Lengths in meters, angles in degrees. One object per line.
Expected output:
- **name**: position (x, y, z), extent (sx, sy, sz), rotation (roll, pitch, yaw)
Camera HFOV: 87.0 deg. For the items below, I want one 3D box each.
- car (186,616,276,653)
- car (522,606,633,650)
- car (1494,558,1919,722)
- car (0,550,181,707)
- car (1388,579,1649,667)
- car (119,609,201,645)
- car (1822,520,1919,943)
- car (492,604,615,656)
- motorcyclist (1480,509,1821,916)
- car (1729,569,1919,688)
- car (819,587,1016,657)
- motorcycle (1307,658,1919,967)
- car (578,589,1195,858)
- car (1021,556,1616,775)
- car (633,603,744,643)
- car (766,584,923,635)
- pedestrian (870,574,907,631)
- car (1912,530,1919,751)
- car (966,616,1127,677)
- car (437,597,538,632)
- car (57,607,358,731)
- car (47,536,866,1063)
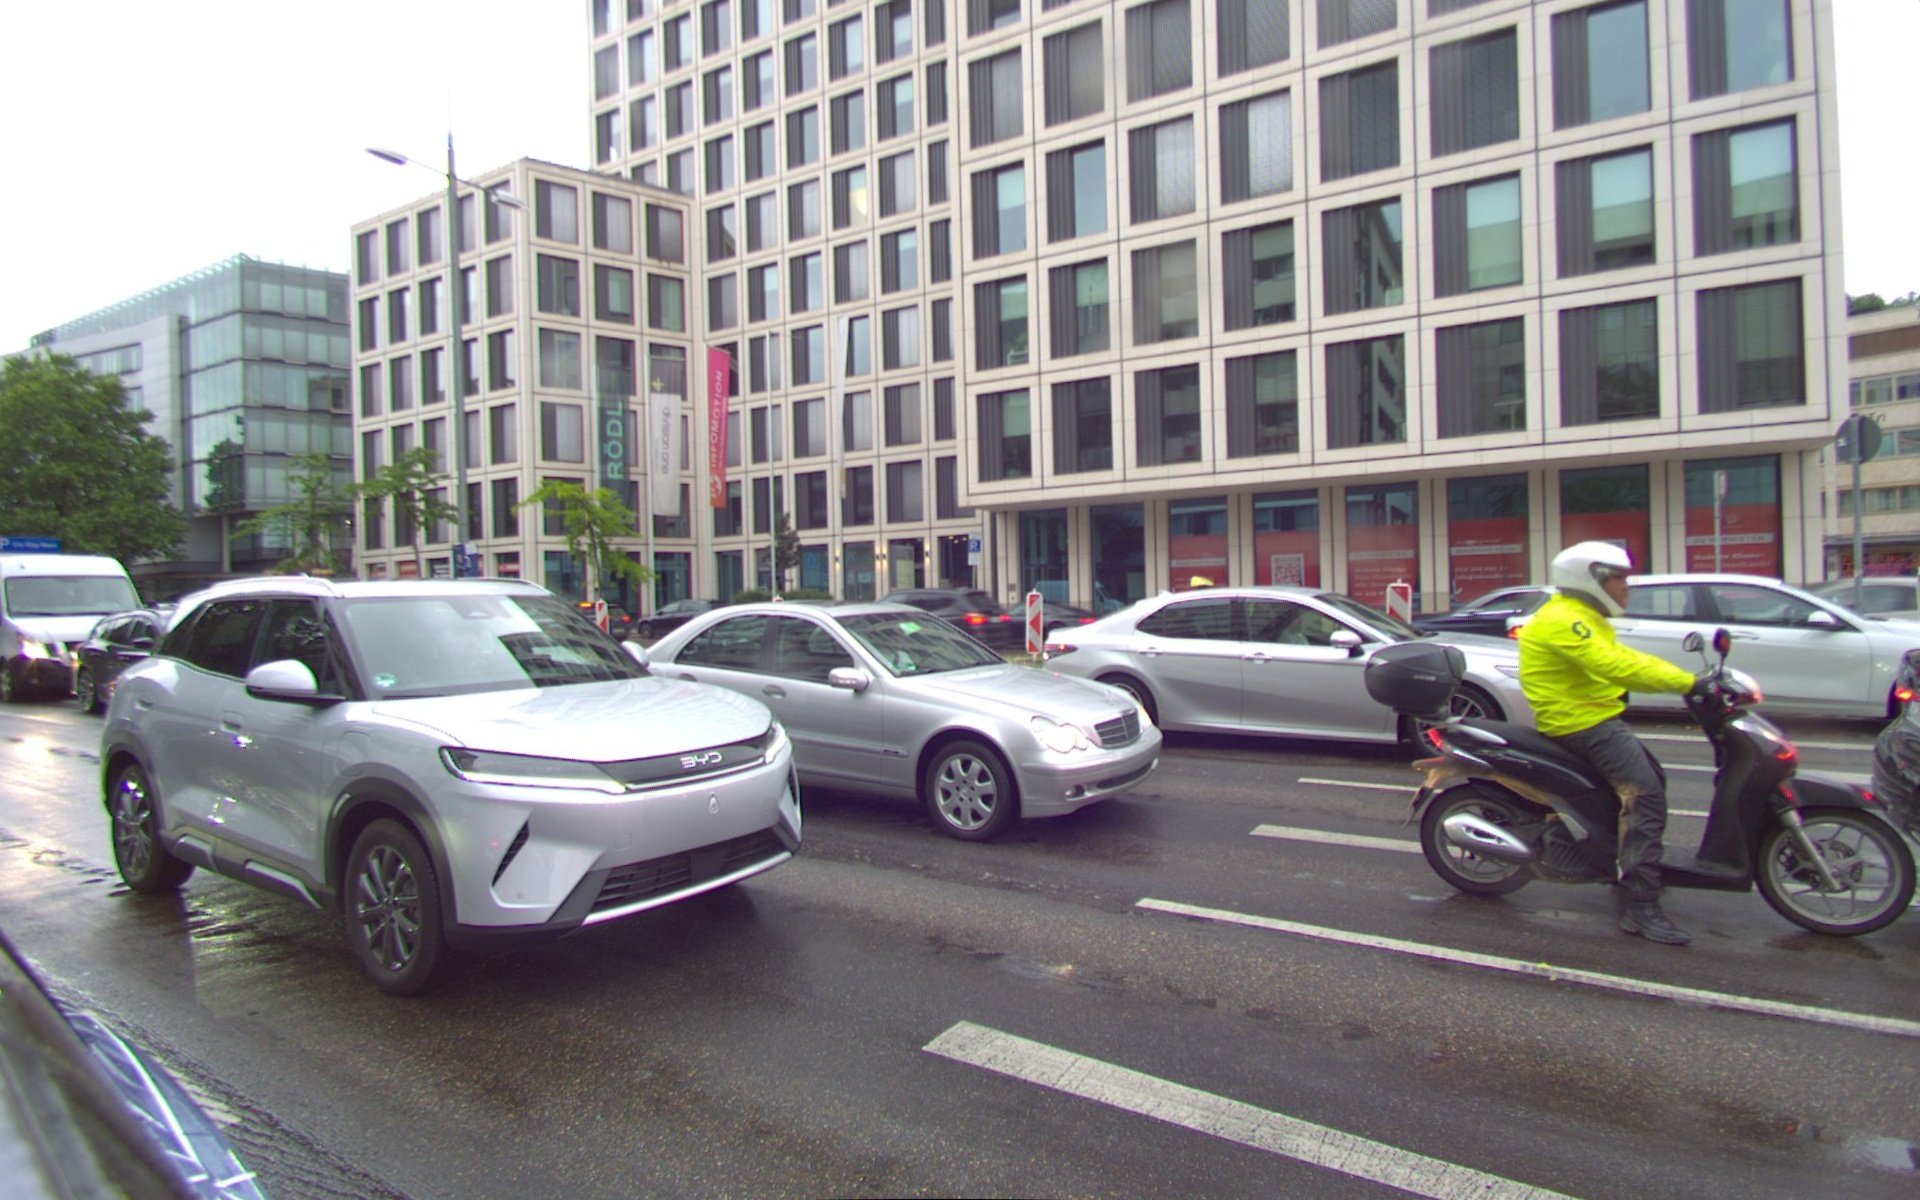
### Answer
- **car**: position (-31.942, 1.498, 44.320), extent (3.857, 1.530, 1.687), rotation (-1, -1, 28)
- **car**: position (-13.743, 0.997, 36.314), extent (3.668, 1.530, 1.688), rotation (-1, -1, 26)
- **car**: position (7.619, 0.319, 9.949), extent (3.985, 1.383, 1.767), rotation (0, 1, 36)
- **car**: position (-16.252, 0.419, 17.997), extent (5.708, 2.403, 2.234), rotation (0, 1, 36)
- **car**: position (10.530, 0.438, 19.353), extent (4.172, 1.530, 1.687), rotation (-1, -1, 29)
- **car**: position (-47.283, 1.569, 59.820), extent (4.892, 2.029, 1.981), rotation (-1, 1, 28)
- **car**: position (5.987, 0.434, 3.026), extent (4.990, 1.526, 1.871), rotation (0, 1, 35)
- **car**: position (-12.607, 0.921, 31.369), extent (3.538, 1.530, 1.687), rotation (-1, -1, 28)
- **motorcyclist**: position (2.885, 0.405, 4.371), extent (1.096, 1.486, 0.935), rotation (-1, 1, 30)
- **car**: position (13.550, 0.366, 14.316), extent (3.979, 1.586, 1.688), rotation (-1, 1, 27)
- **car**: position (-0.969, 0.495, 22.496), extent (4.121, 1.435, 1.687), rotation (-1, -1, 28)
- **motorcycle**: position (2.806, 0.799, 4.437), extent (2.285, 0.997, 0.935), rotation (-1, 1, 30)
- **car**: position (-0.690, 0.668, 7.390), extent (4.372, 1.414, 1.718), rotation (0, 1, 34)
- **car**: position (3.075, 0.445, 9.186), extent (4.790, 1.532, 1.815), rotation (0, 1, 35)
- **car**: position (-10.172, 0.849, 37.880), extent (3.937, 1.435, 1.687), rotation (-1, -1, 28)
- **car**: position (-3.861, 0.345, 33.498), extent (5.160, 1.581, 1.687), rotation (-1, -1, 29)
- **pedestrian**: position (-2.247, 0.078, 31.893), extent (0.963, 1.747, 0.608), rotation (-1, 1, 29)
- **car**: position (8.440, 0.304, 5.836), extent (3.985, 1.628, 1.721), rotation (-1, 1, 31)
- **car**: position (2.292, 1.200, 27.068), extent (3.953, 1.530, 1.687), rotation (-1, -1, 29)
- **car**: position (-20.312, 0.642, 43.467), extent (4.354, 1.435, 1.687), rotation (-1, -1, 28)
- **car**: position (-10.404, 0.843, 13.931), extent (4.227, 1.412, 1.886), rotation (-1, 1, 32)
- **car**: position (-2.678, 0.624, 5.093), extent (4.157, 1.673, 1.794), rotation (0, 1, 33)
